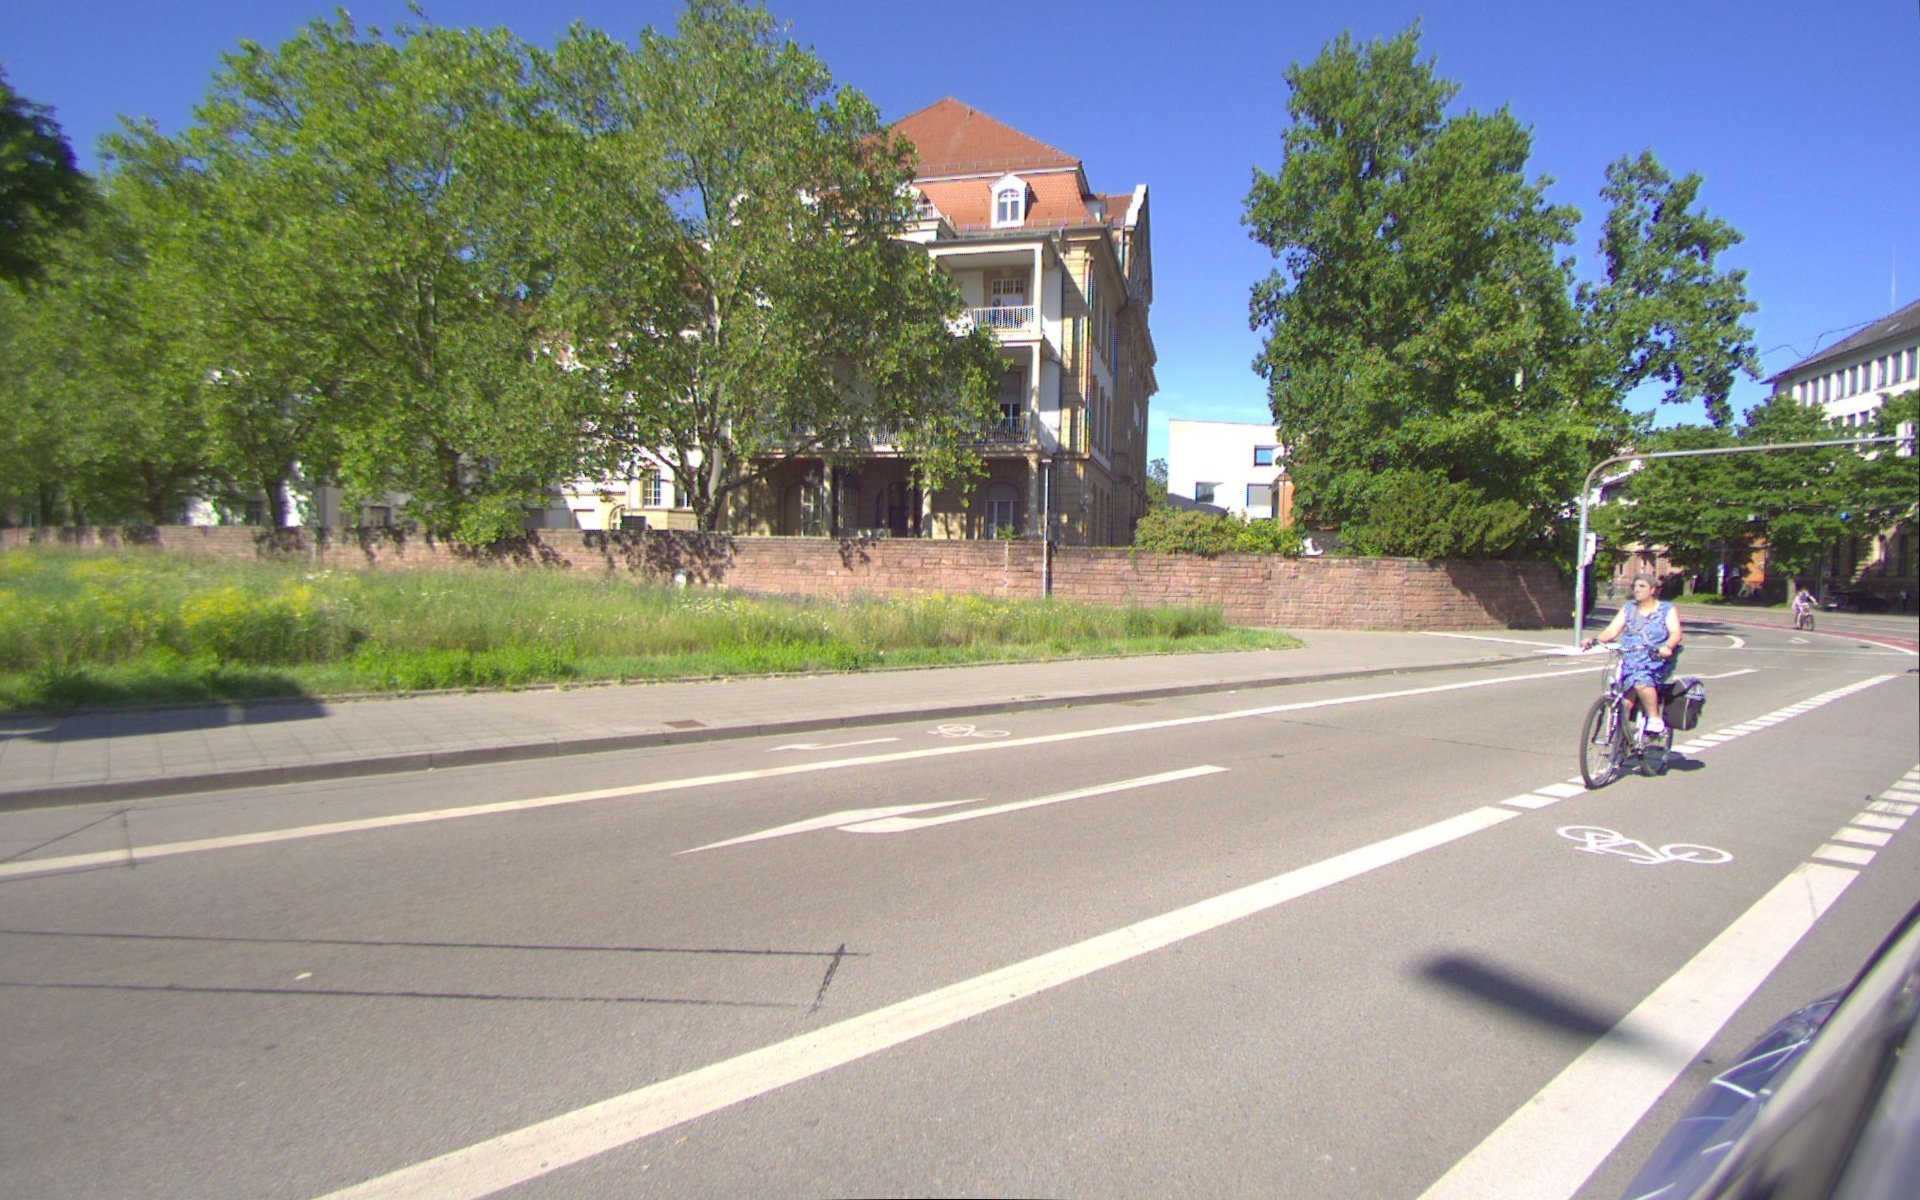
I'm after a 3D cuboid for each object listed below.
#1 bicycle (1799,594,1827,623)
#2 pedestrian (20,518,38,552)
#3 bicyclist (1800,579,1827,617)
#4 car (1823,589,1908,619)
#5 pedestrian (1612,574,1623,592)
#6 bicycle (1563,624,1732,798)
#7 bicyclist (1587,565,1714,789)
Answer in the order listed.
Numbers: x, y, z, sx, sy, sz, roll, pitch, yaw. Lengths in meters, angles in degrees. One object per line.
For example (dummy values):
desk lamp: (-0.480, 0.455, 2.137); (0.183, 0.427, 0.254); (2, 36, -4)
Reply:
bicycle: (36.337, 0.367, 43.122); (0.774, 1.179, 1.942); (1, 1, 36)
pedestrian: (-46.166, -3.196, 50.169); (0.642, 1.631, 0.557); (0, 0, -42)
bicyclist: (36.365, -0.102, 43.130); (0.774, 1.571, 0.907); (1, 1, 37)
car: (60.920, 0.251, 68.148); (3.731, 1.838, 1.999); (1, 2, 3)
pedestrian: (60.034, -1.515, 92.347); (0.628, 1.631, 0.841); (0, 0, 18)
bicycle: (5.565, 0.819, 8.143); (1.933, 1.179, 0.642); (0, 1, -41)
bicyclist: (5.541, 0.566, 8.121); (0.763, 1.683, 0.642); (-1, 2, -41)
